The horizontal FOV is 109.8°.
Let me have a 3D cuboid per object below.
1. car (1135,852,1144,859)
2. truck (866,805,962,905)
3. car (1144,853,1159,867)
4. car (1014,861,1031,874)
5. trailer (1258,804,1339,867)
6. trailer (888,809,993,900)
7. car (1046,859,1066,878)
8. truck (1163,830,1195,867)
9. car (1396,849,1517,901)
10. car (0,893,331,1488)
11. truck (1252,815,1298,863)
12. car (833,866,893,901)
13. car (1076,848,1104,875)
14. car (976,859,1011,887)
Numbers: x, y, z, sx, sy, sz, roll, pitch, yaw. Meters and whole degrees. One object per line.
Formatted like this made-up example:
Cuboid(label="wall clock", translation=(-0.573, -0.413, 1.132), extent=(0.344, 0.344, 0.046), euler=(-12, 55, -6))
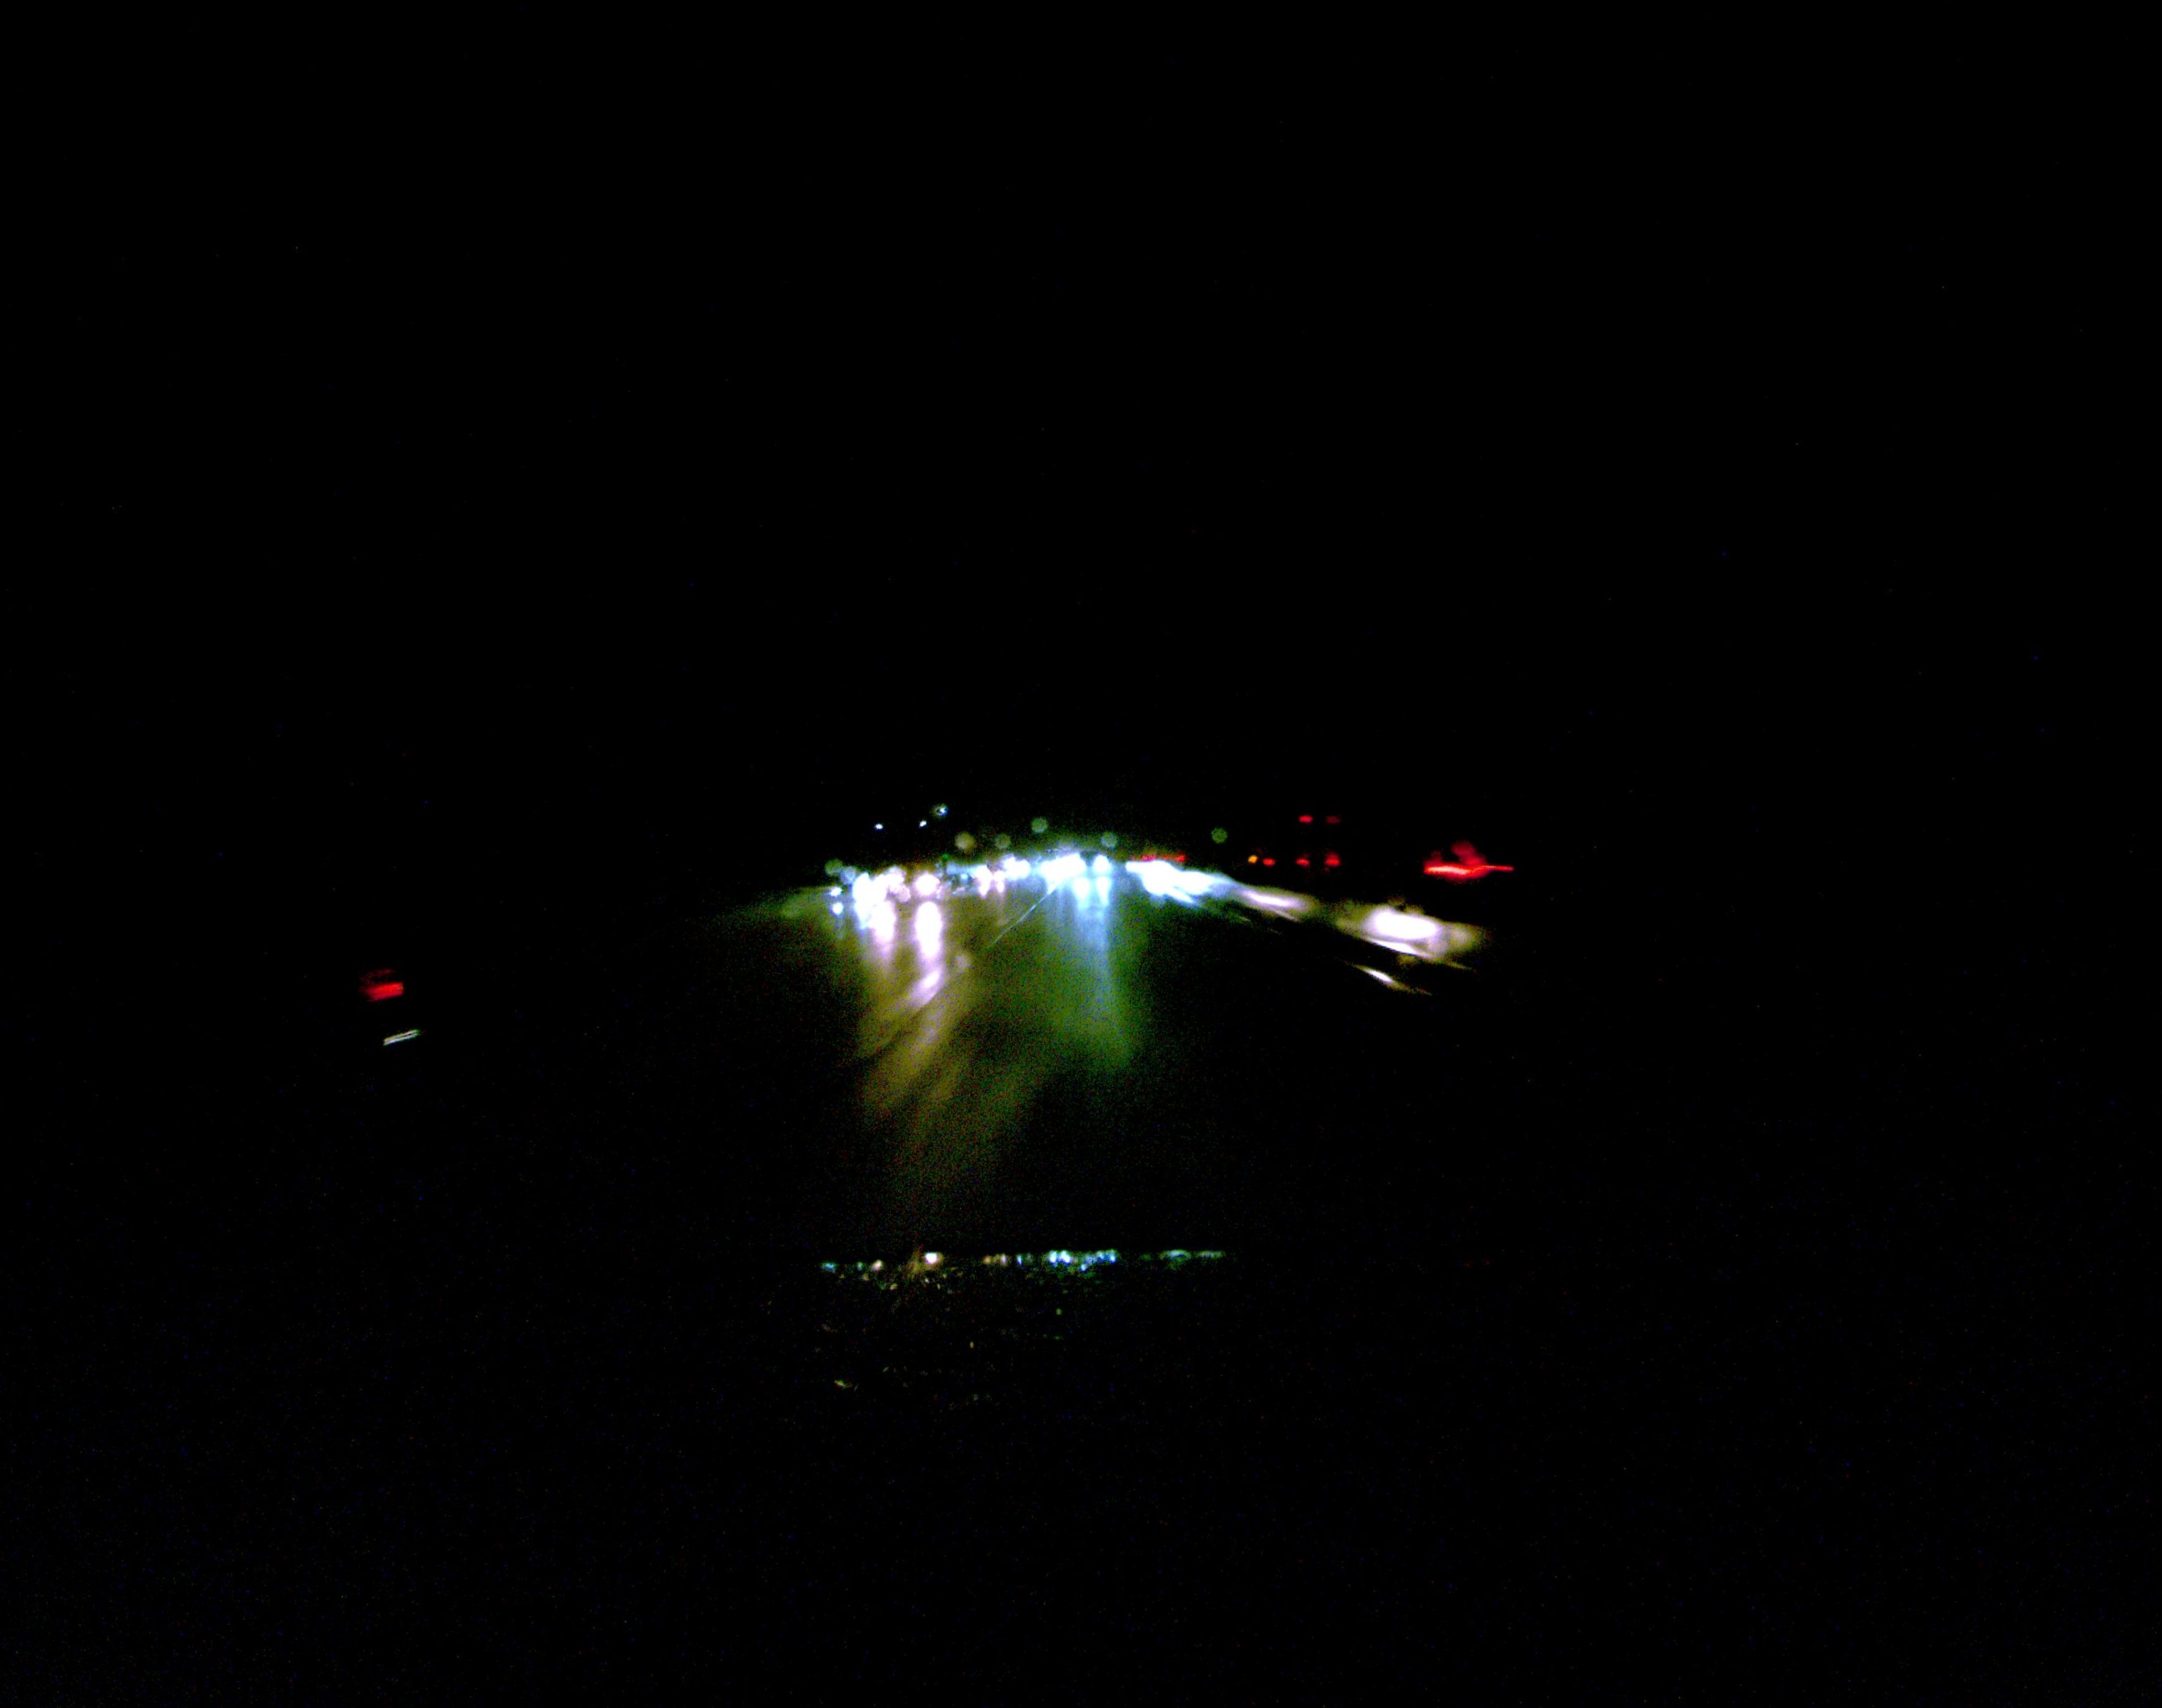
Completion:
Cuboid(label="car", translation=(16.201, 0.418, 211.102), extent=(1.998, 2.002, 3.999), euler=(-4, 1, 0))
Cuboid(label="truck", translation=(-7.302, 0.026, 33.982), extent=(2.782, 3.946, 5.197), euler=(-4, 1, 0))
Cuboid(label="car", translation=(10.625, 0.837, 114.724), extent=(1.748, 2.002, 3.999), euler=(-3, 0, -1))
Cuboid(label="car", translation=(-8.568, 1.933, 112.241), extent=(1.998, 1.615, 4.625), euler=(-4, 1, 0))
Cuboid(label="trailer", translation=(17.779, -1.481, 63.246), extent=(2.629, 4.519, 13.720), euler=(-4, 1, 1))
Cuboid(label="trailer", translation=(-7.207, -0.073, 41.526), extent=(2.746, 3.955, 13.817), euler=(-4, 1, 1))
Cuboid(label="car", translation=(-2.935, 1.651, 90.320), extent=(1.998, 2.002, 3.999), euler=(-4, 1, 1))
Cuboid(label="truck", translation=(17.572, -1.167, 137.763), extent=(3.337, 6.069, 16.621), euler=(-4, 1, 1))
Cuboid(label="car", translation=(13.117, 0.670, 26.906), extent=(1.998, 1.517, 4.669), euler=(-4, 1, 1))
Cuboid(label="car", translation=(-3.994, 1.018, 1.203), extent=(1.848, 1.615, 3.678), euler=(-3, 0, 0))
Cuboid(label="truck", translation=(17.829, -1.362, 70.126), extent=(2.611, 4.089, 5.678), euler=(-4, 1, 0))
Cuboid(label="car", translation=(-11.796, 1.560, 41.438), extent=(1.919, 1.580, 4.116), euler=(-4, 1, 1))
Cuboid(label="car", translation=(0.776, 0.580, 61.090), extent=(1.998, 2.002, 4.000), euler=(-3, 0, 2))
Cuboid(label="car", translation=(-6.789, 1.466, 59.458), extent=(1.998, 2.002, 4.000), euler=(-3, 0, 2))
